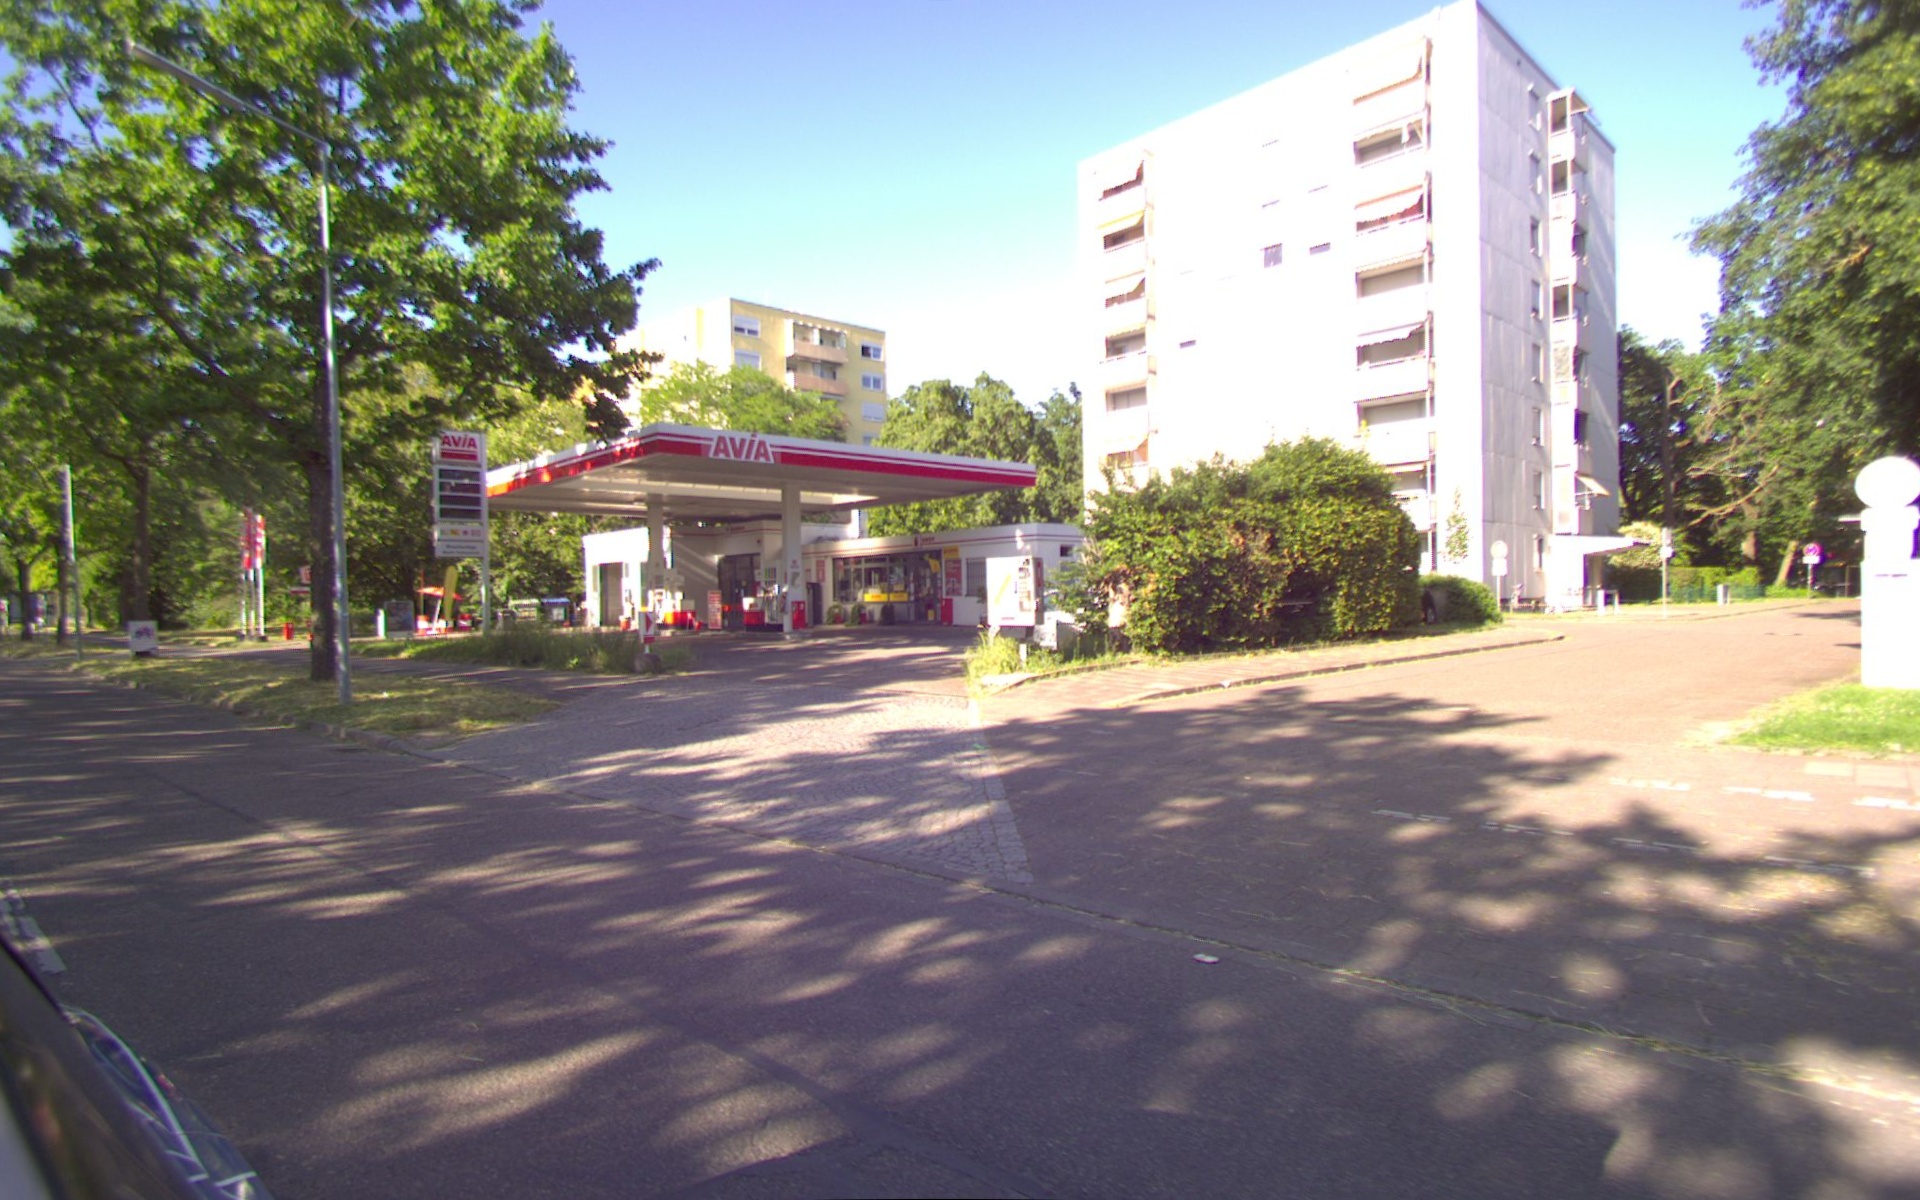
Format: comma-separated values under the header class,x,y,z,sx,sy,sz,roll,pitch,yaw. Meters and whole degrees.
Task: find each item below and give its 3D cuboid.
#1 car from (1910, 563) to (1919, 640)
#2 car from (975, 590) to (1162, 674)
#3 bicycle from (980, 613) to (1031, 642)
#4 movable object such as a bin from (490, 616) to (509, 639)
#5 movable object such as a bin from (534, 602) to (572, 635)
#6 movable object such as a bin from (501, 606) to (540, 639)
class,x,y,z,sx,sy,sz,roll,pitch,yaw
car,24.225,-0.019,22.626,4.253,1.767,1.973,-2,-1,42
car,2.051,0.588,19.816,1.527,1.432,3.492,-3,1,-41
bicycle,1.363,0.825,30.659,0.609,0.813,1.785,-1,0,-34
movable object such as a bin,-21.888,1.312,48.079,0.768,1.094,0.562,-1,-1,42
movable object such as a bin,-20.058,0.905,49.898,1.163,1.553,1.290,-1,1,42
movable object such as a bin,-21.178,1.071,48.759,1.267,1.553,1.290,-1,0,42
